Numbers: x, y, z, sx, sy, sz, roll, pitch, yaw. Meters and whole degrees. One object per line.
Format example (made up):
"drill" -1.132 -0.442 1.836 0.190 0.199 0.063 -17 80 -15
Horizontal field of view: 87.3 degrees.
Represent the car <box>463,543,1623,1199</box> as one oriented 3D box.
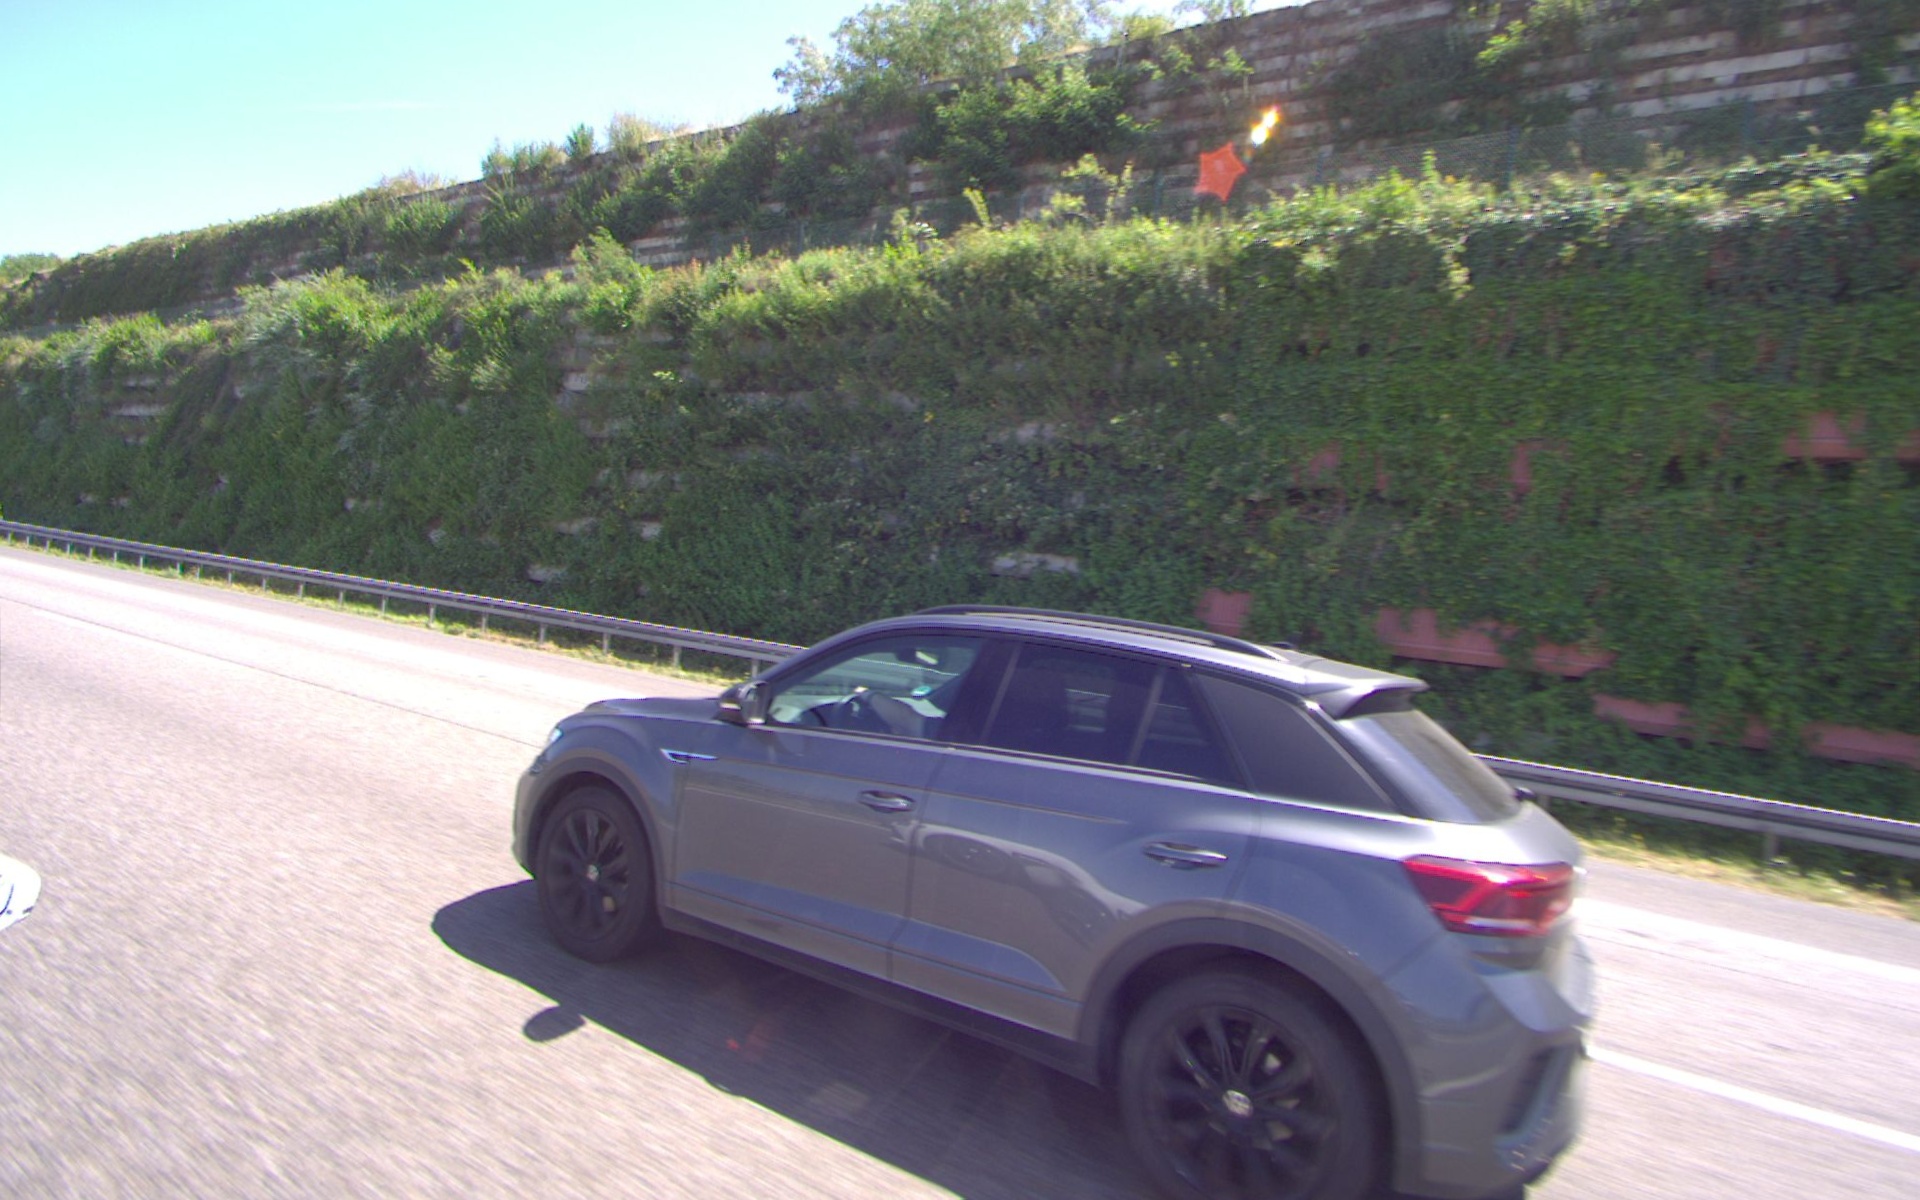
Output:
"car" 0.111 0.780 3.943 3.929 1.543 1.752 6 0 31
